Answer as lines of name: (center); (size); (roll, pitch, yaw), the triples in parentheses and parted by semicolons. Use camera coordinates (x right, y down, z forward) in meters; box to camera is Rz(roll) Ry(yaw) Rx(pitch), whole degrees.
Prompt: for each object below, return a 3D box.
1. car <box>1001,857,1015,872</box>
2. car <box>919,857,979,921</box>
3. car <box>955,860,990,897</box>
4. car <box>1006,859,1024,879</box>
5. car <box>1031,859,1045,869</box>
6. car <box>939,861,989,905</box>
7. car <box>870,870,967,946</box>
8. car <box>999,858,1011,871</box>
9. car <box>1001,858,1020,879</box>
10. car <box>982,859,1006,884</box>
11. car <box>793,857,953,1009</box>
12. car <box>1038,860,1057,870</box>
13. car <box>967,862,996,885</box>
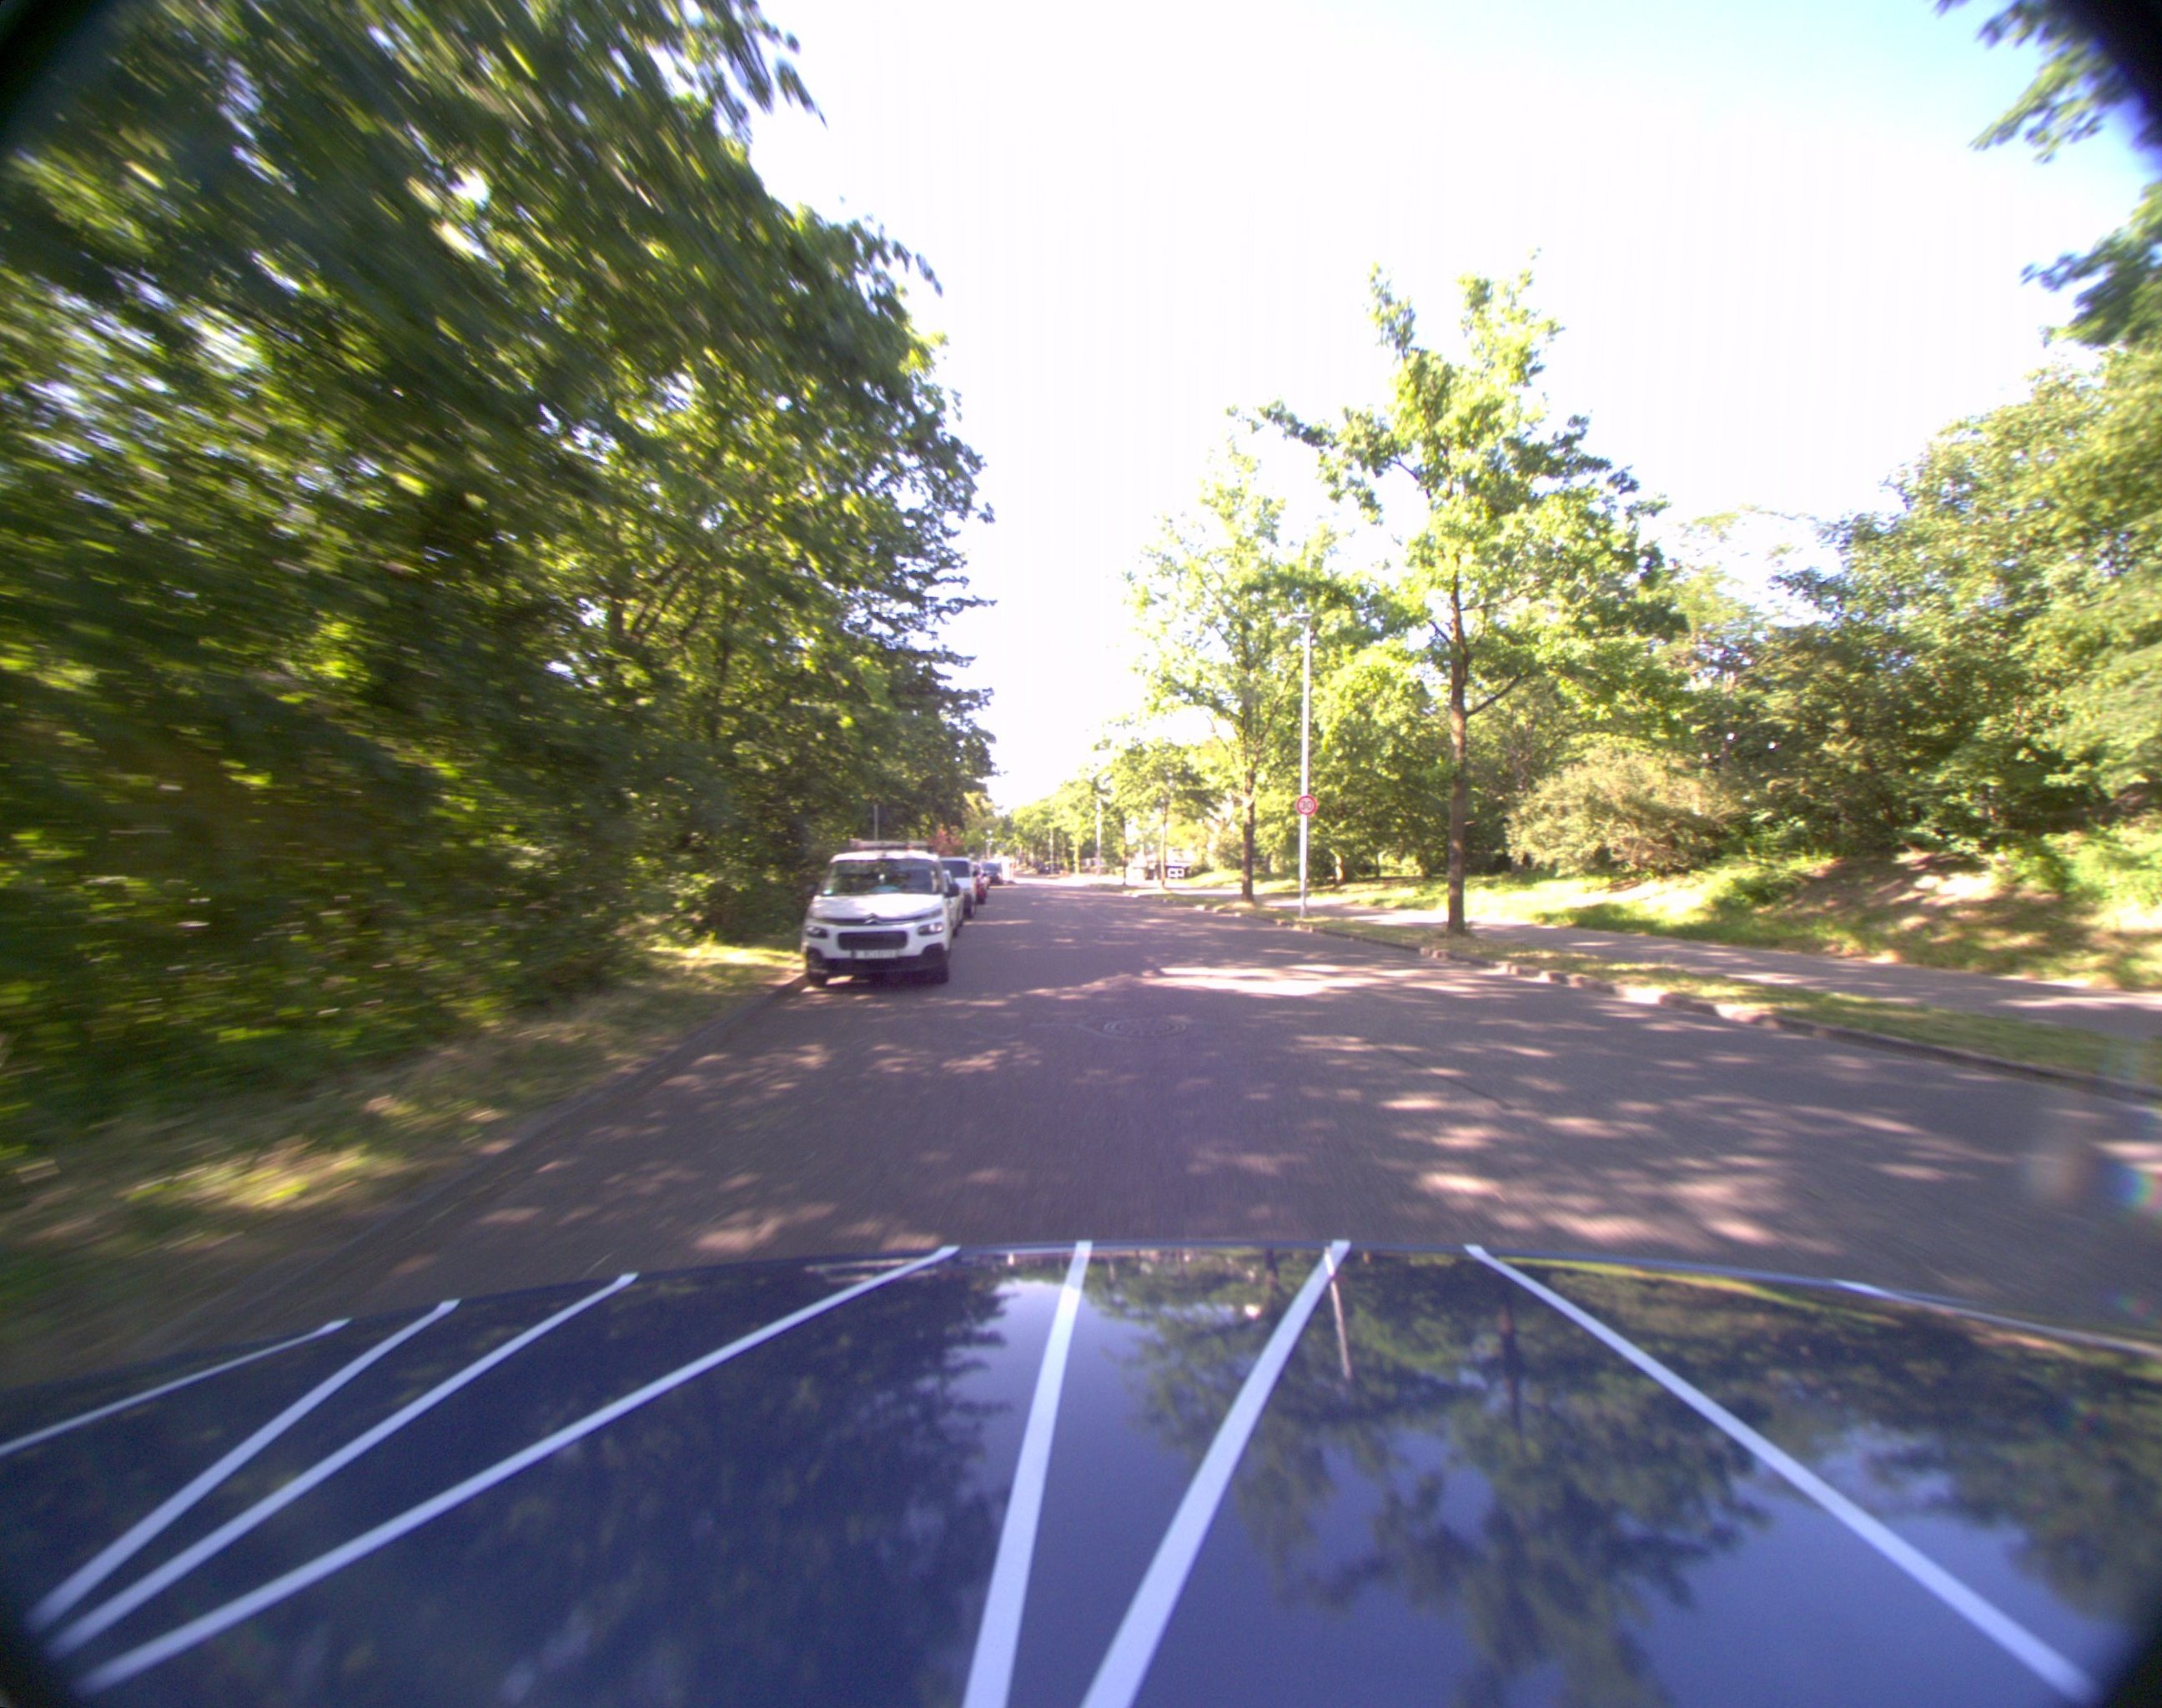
car: (-8.292, 1.192, 86.201); (1.422, 1.643, 3.908); (0, 0, -4)
car: (-3.850, 0.963, 22.534); (1.501, 1.744, 3.800); (0, 0, -6)
car: (-5.017, 1.097, 35.427); (1.501, 1.629, 3.751); (0, 0, -6)
car: (-5.733, 1.302, 66.377); (1.450, 1.643, 3.718); (0, 0, -4)
car: (-7.109, 1.624, 125.298); (2.000, 1.574, 3.997); (1, 0, -9)
car: (-4.591, 1.082, 30.146); (1.773, 1.629, 3.751); (0, 0, -6)
car: (-3.615, 1.136, 17.620); (1.723, 1.436, 4.611); (-1, 0, -6)
car: (-9.961, 1.321, 99.379); (1.422, 1.643, 3.908); (0, 0, -4)
car: (-5.769, 1.155, 62.275); (1.450, 1.643, 3.718); (0, 0, -4)
car: (-6.036, 1.178, 53.165); (1.500, 1.643, 4.090); (0, 0, -4)
car: (-2.809, 0.921, 11.201); (1.755, 1.739, 4.630); (0, 0, -9)
car: (-4.699, 1.520, 106.161); (2.001, 1.359, 3.995); (1, 0, -12)
car: (-6.046, 1.172, 46.400); (1.500, 1.351, 3.465); (0, 0, -4)
